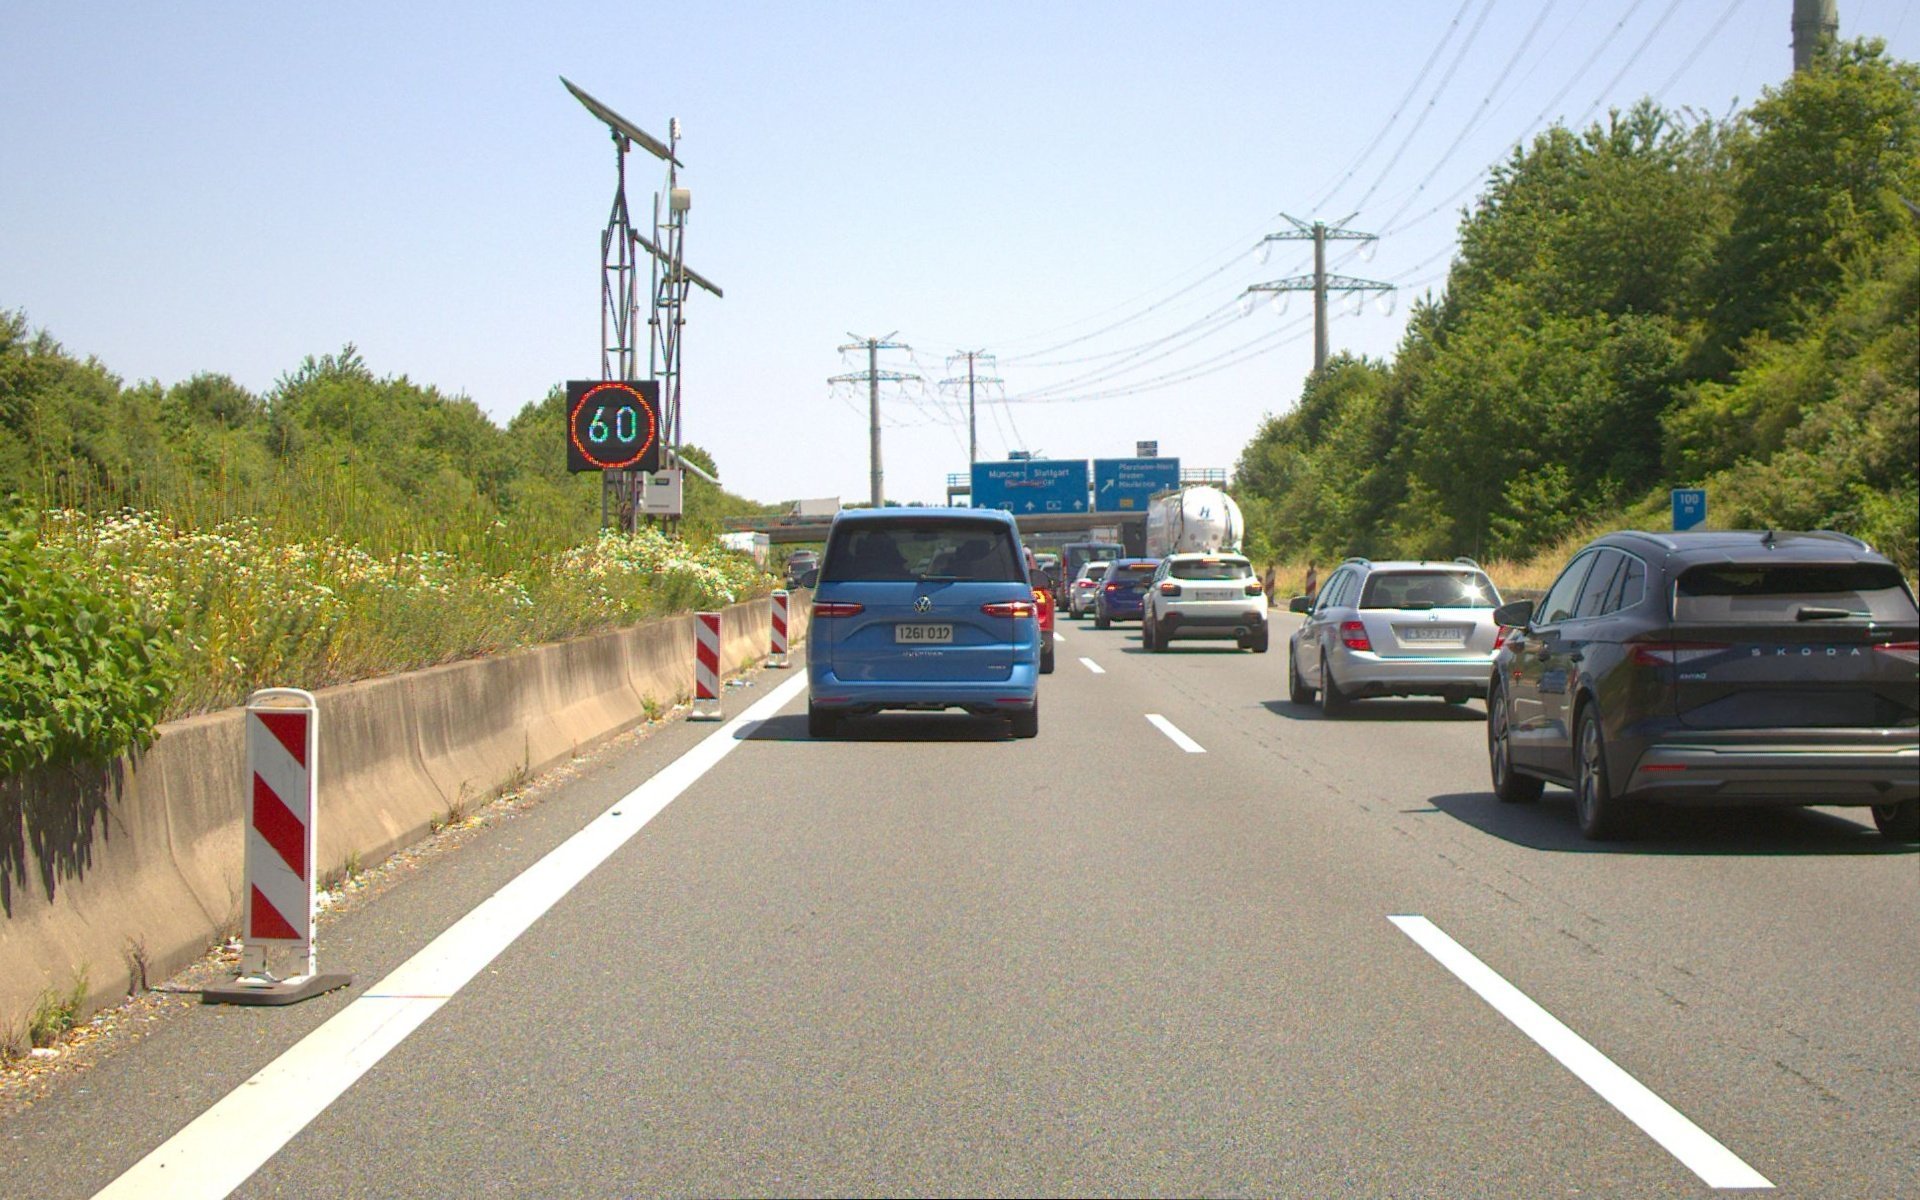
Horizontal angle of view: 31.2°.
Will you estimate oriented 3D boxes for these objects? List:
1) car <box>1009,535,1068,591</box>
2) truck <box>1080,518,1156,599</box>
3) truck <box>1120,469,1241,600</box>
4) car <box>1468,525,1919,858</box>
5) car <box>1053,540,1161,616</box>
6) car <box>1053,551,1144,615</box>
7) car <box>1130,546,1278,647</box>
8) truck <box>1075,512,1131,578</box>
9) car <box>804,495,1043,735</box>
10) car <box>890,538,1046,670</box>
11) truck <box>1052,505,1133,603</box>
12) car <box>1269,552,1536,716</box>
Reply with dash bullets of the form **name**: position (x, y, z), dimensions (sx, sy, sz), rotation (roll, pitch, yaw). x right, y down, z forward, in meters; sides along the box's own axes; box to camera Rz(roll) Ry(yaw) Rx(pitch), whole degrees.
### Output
- **car**: position (2.868, -1.354, 126.607), dimensions (1.993, 2.007, 4.000), rotation (1, 1, -1)
- **truck**: position (7.128, -1.914, 156.609), dimensions (2.644, 3.526, 12.553), rotation (1, 1, -1)
- **truck**: position (7.238, -2.165, 115.277), dimensions (2.644, 4.058, 16.442), rotation (1, 1, -1)
- **car**: position (4.074, 0.403, 18.920), dimensions (1.828, 1.609, 4.431), rotation (0, 1, -1)
- **car**: position (3.043, -0.475, 71.980), dimensions (1.908, 1.511, 4.384), rotation (1, 1, -2)
- **car**: position (3.379, -0.445, 84.856), dimensions (1.908, 1.511, 4.384), rotation (1, 1, -2)
- **car**: position (3.814, -0.084, 54.234), dimensions (1.908, 1.503, 3.922), rotation (1, 1, -2)
- **truck**: position (9.507, -3.677, 230.294), dimensions (2.938, 4.276, 12.553), rotation (1, 1, -1)
- **car**: position (-0.371, 0.091, 29.367), dimensions (1.871, 1.872, 4.384), rotation (1, 1, -2)
- **car**: position (0.052, 0.018, 44.412), dimensions (1.908, 1.625, 4.384), rotation (0, 1, -1)
- **truck**: position (3.794, -1.334, 99.565), dimensions (1.993, 2.714, 5.680), rotation (1, 1, -1)
- **car**: position (4.128, 0.271, 32.736), dimensions (1.821, 1.432, 4.384), rotation (1, 1, -2)
